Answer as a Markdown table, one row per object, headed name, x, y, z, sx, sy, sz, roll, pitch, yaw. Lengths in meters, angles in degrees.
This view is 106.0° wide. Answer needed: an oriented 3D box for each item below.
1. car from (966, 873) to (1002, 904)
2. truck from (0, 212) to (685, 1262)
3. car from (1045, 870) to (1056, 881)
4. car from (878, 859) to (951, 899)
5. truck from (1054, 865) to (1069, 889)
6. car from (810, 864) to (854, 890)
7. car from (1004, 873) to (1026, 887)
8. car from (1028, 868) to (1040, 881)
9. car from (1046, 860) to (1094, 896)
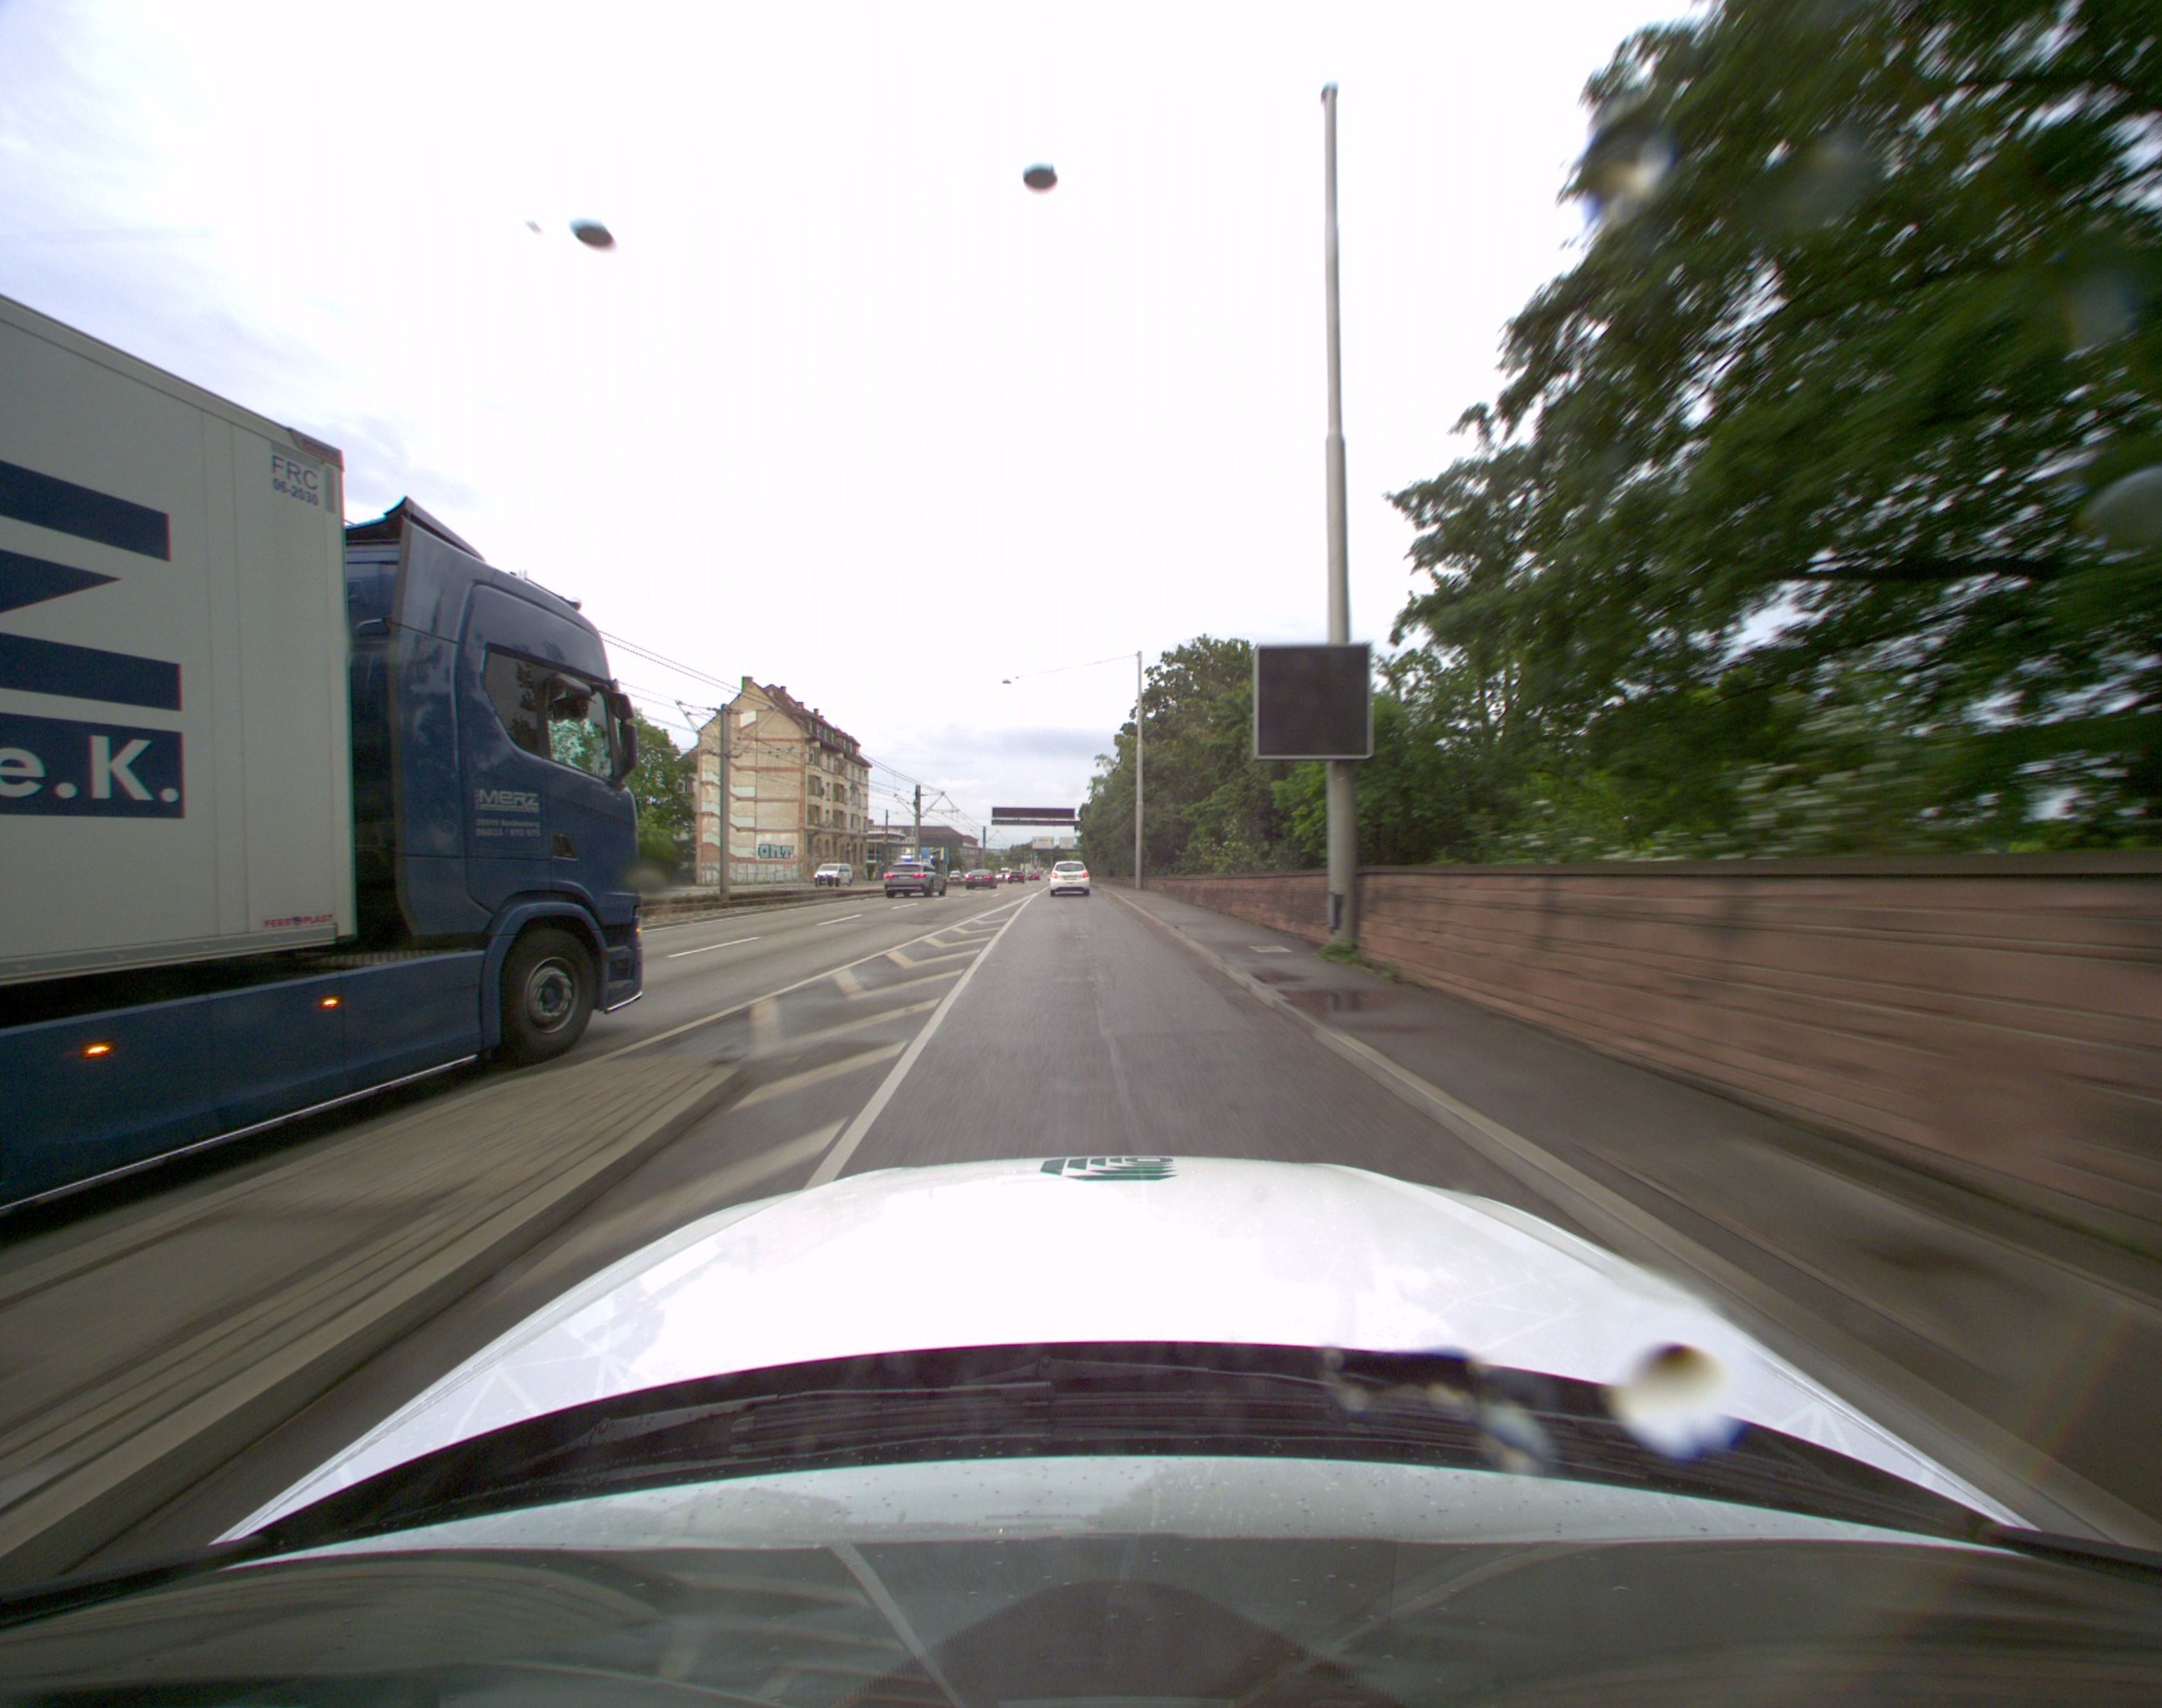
| name | x | y | z | sx | sy | sz | roll | pitch | yaw |
| --- | --- | --- | --- | --- | --- | --- | --- | --- | --- |
| car | -6.669 | 2.361 | 56.197 | 1.712 | 1.891 | 3.542 | 0 | 2 | 6 |
| truck | -5.573 | -0.426 | 4.799 | 2.750 | 4.197 | 6.791 | -1 | -1 | 4 |
| car | -5.799 | 4.116 | 155.984 | 2.075 | 1.873 | 4.093 | -1 | -3 | -1 |
| car | -7.086 | 1.071 | 35.065 | 1.811 | 1.566 | 4.099 | -2 | -2 | 7 |
| truck | -4.913 | 6.036 | 207.673 | 3.452 | 5.403 | 12.048 | 1 | -5 | 1 |
| car | -20.610 | 1.949 | 67.652 | 1.987 | 2.118 | 5.108 | 1 | -3 | 0 |
| car | -7.565 | 3.043 | 93.979 | 1.985 | 1.576 | 4.002 | 0 | -2 | 3 |
| car | -8.421 | 3.677 | 146.269 | 1.988 | 2.014 | 3.996 | 1 | -5 | -1 |
| car | -0.473 | 1.065 | 35.801 | 1.950 | 1.488 | 3.997 | 1 | -2 | -1 |
